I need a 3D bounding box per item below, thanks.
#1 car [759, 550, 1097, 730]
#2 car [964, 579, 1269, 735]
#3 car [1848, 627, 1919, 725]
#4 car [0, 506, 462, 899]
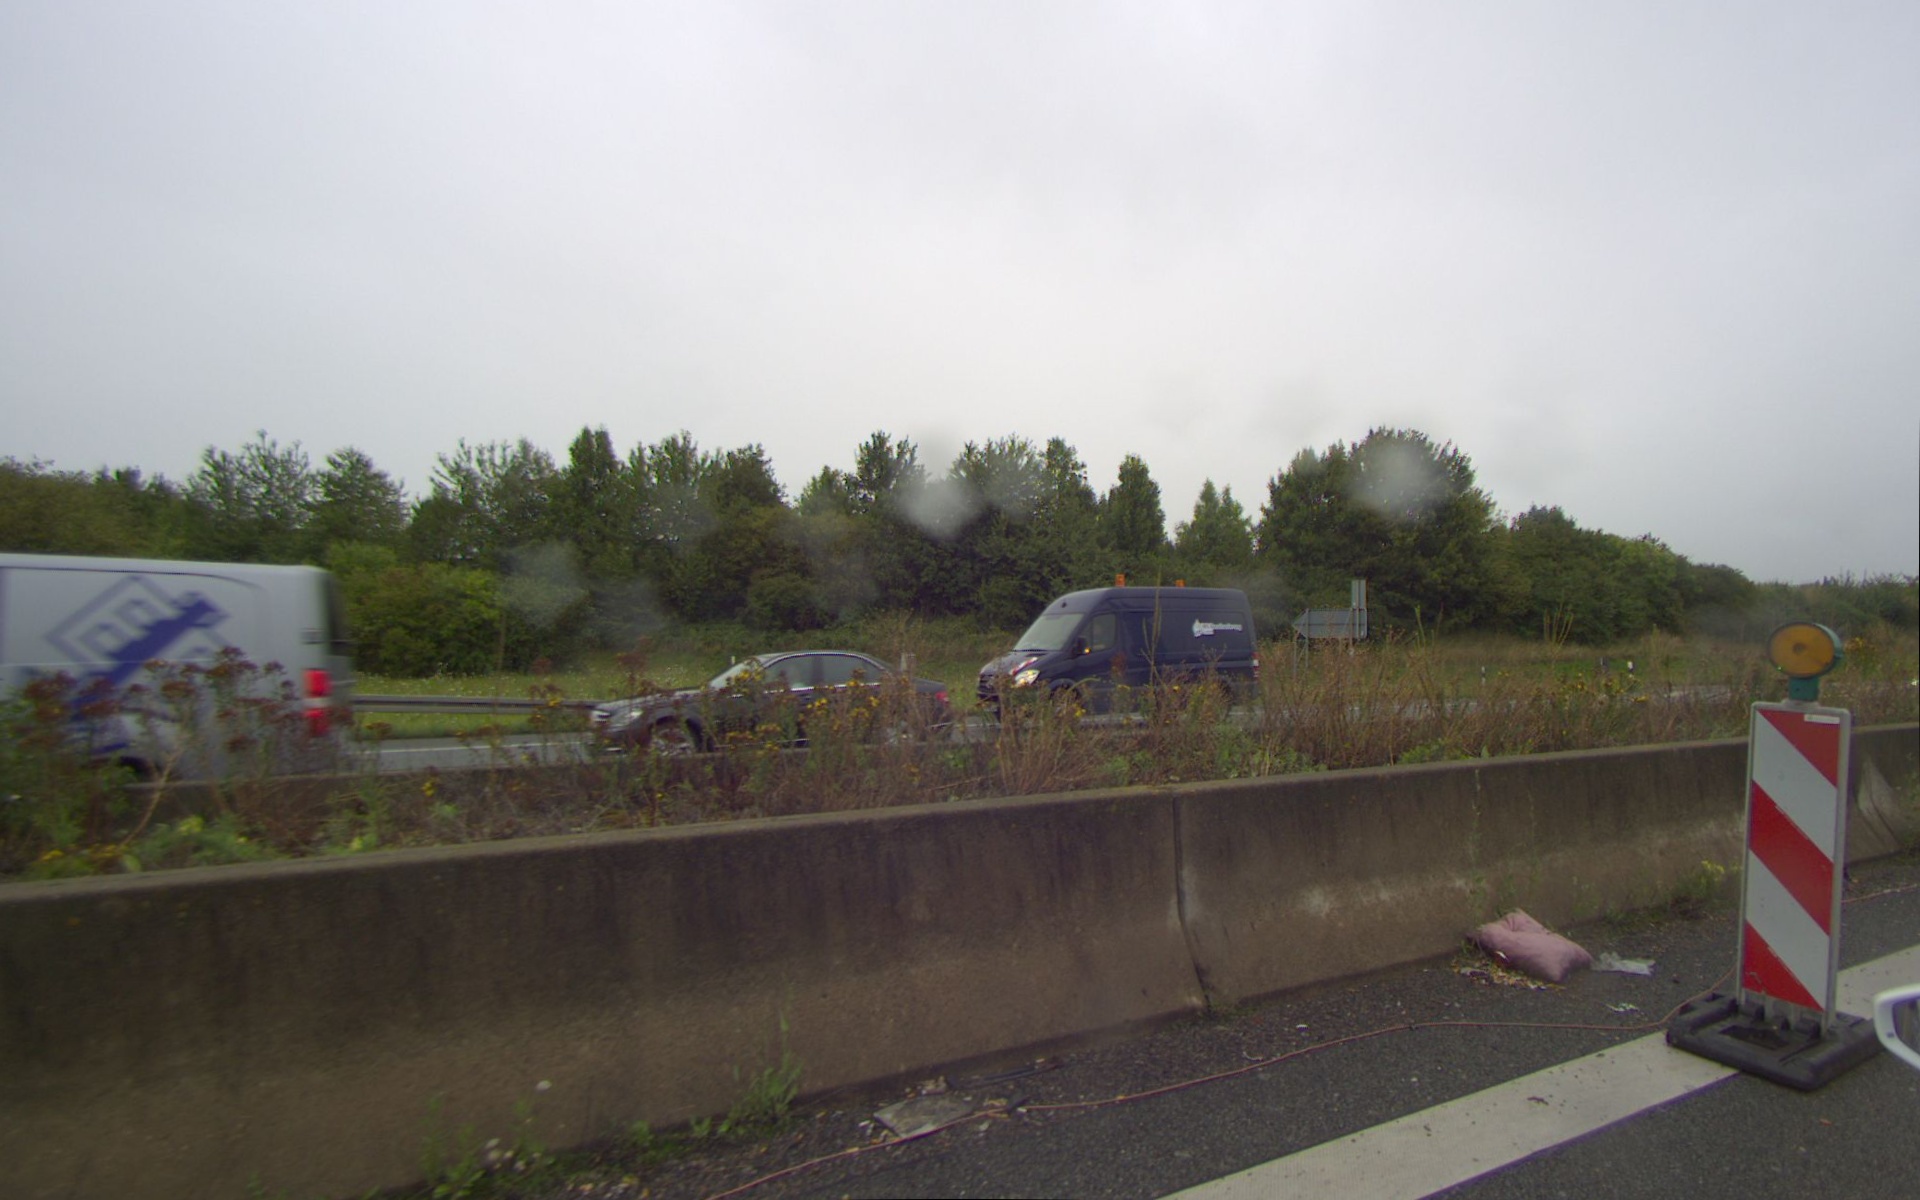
[{"bbox_3d":[-0.405,0.517,13.225,3.952,2.040,1.985,2,-1,-29],"label":"car"},{"bbox_3d":[3.099,1.050,19.359,5.778,2.644,2.041,2,0,-30],"label":"car"},{"bbox_3d":[21.666,1.664,21.993,4.617,1.985,1.984,2,-1,-31],"label":"car"},{"bbox_3d":[-5.802,0.528,5.773,5.189,2.040,1.760,2,-1,-29],"label":"car"}]
